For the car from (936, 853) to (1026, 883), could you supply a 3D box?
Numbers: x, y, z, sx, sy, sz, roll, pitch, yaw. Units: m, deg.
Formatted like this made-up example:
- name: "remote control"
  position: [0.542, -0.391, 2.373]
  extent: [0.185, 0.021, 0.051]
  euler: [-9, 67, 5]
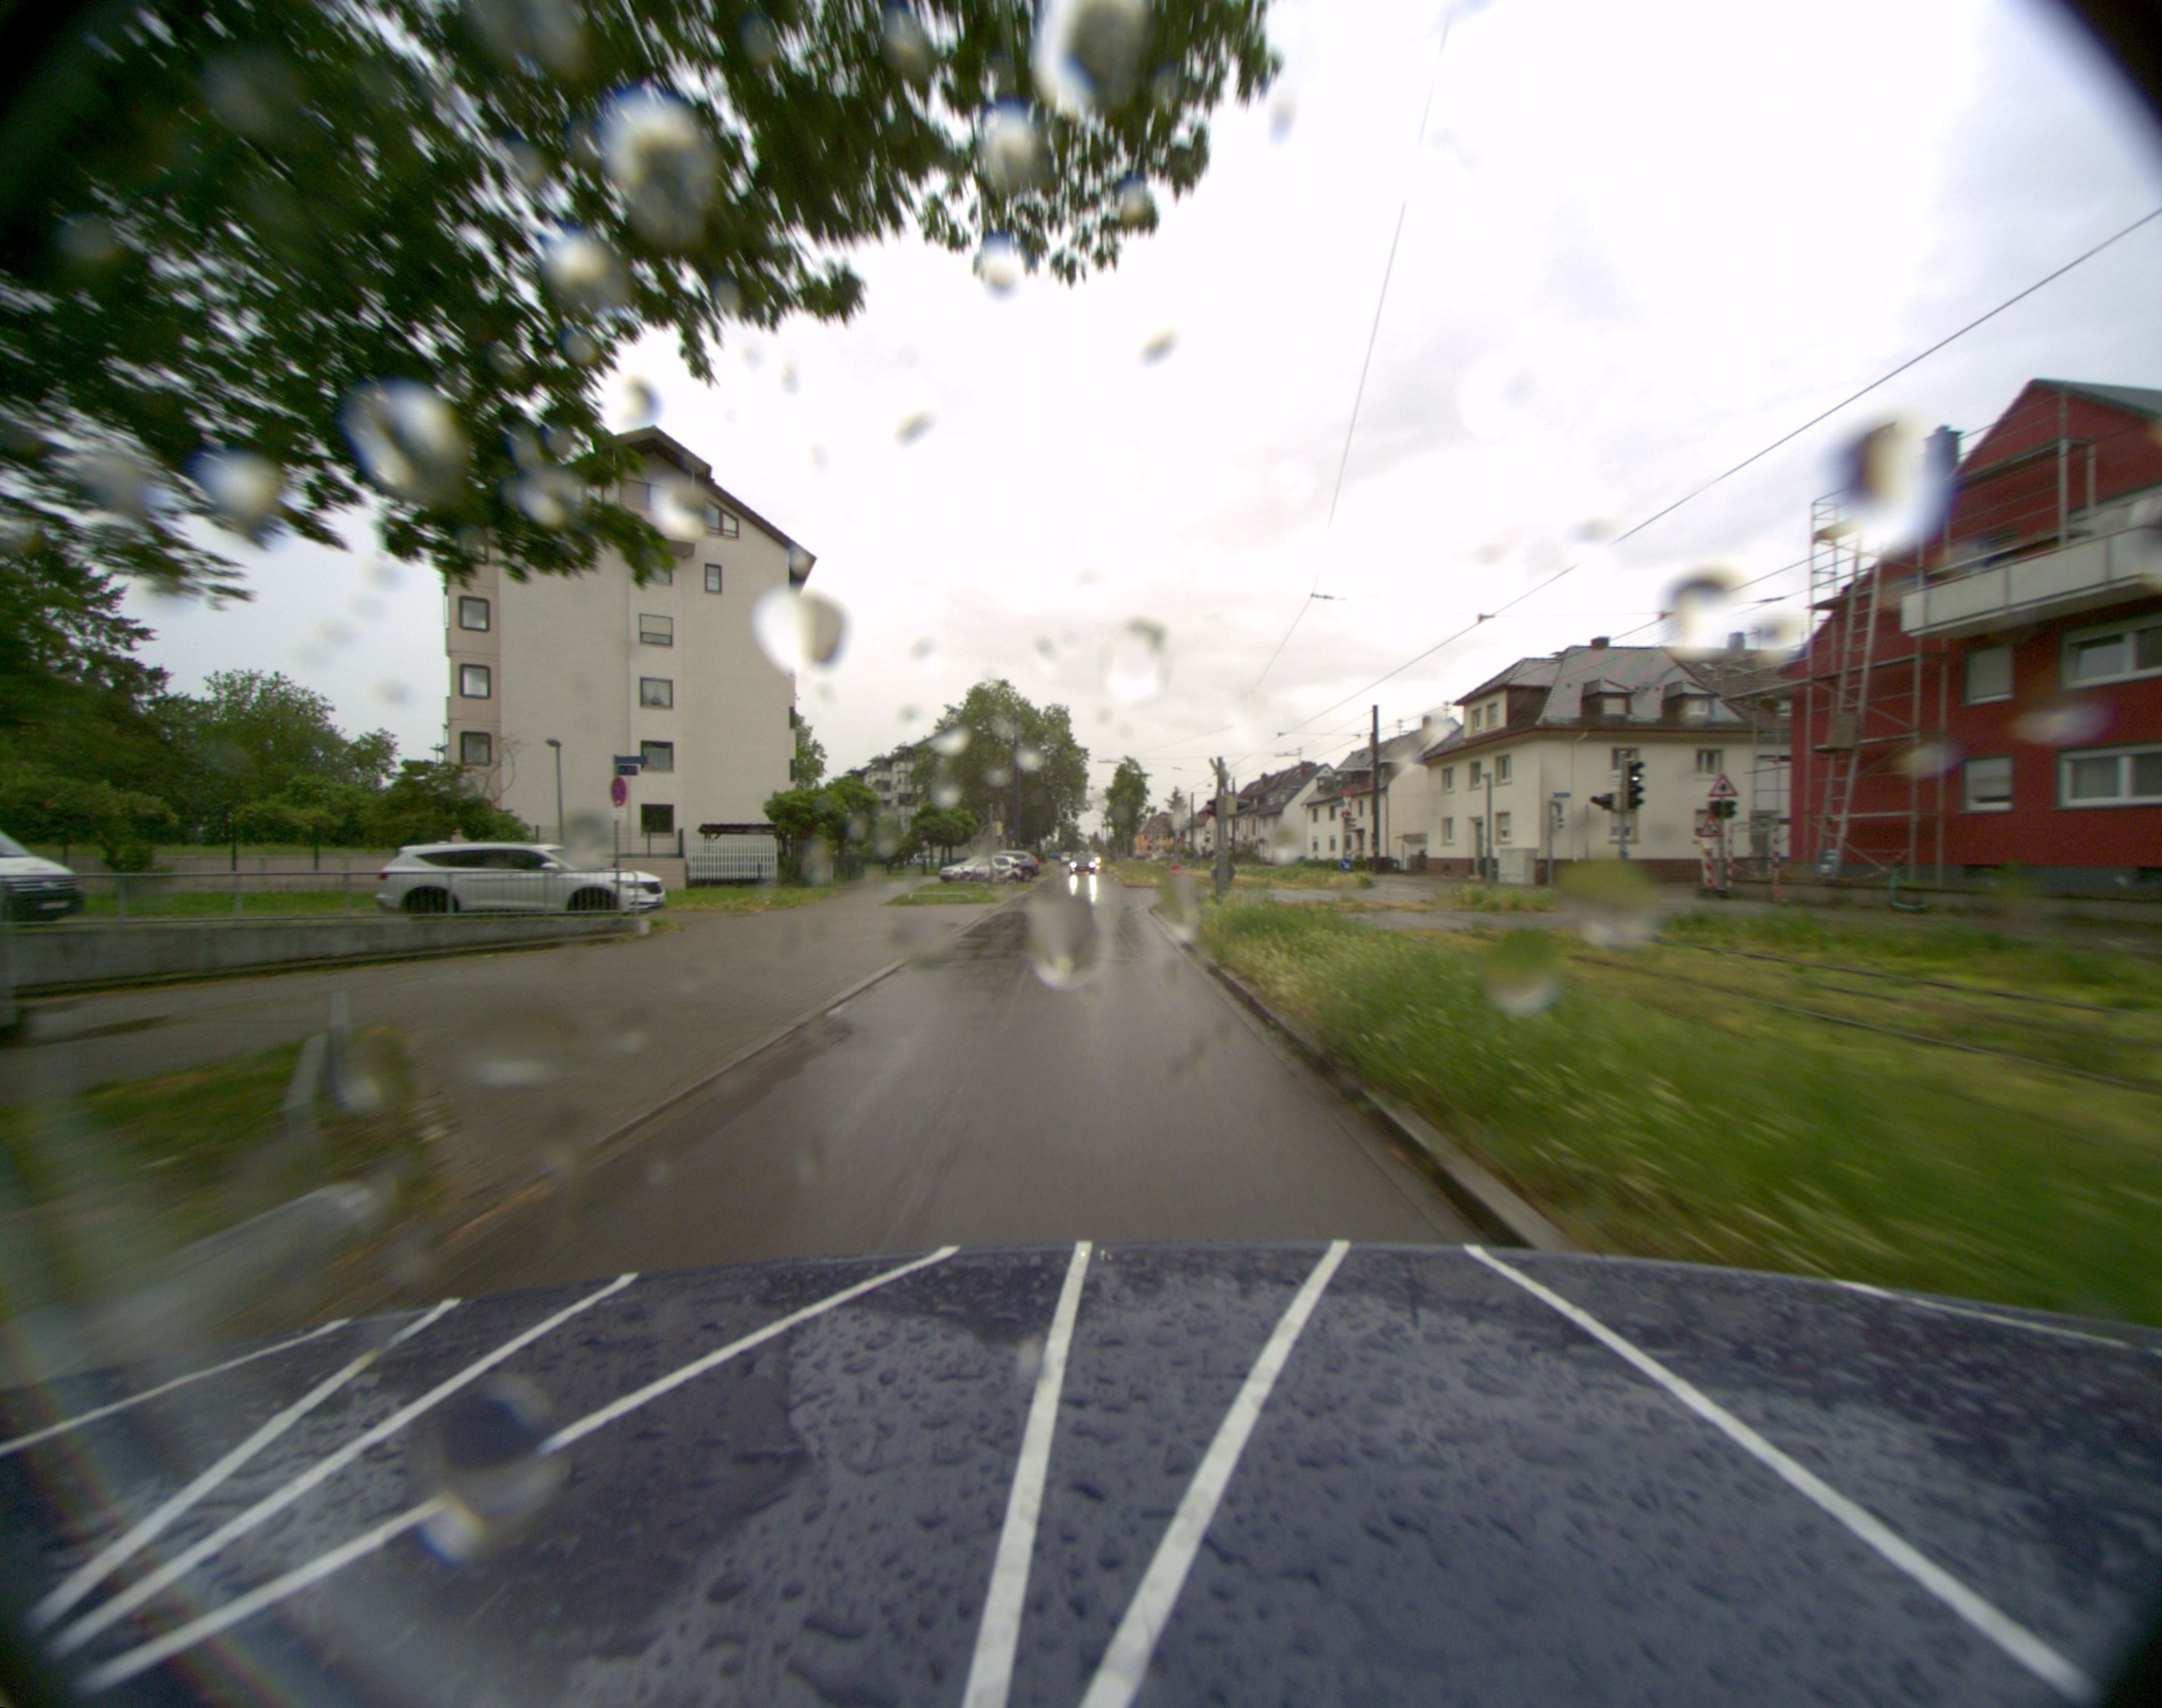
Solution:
- name: "car"
  position: [-4.956, 0.693, 37.882]
  extent: [4.133, 1.414, 1.734]
  euler: [1, 0, -35]

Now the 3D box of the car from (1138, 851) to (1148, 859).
- name: "car"
  position: [13.843, 0.189, 170.397]
  extent: [1.912, 1.581, 3.999]
  euler: [1, 0, -1]

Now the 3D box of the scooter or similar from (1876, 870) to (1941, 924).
- name: "scooter or similar"
  position: [19.393, 0.991, 17.830]
  extent: [0.394, 1.173, 1.284]
  euler: [0, 1, 16]

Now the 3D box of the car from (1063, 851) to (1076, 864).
- name: "car"
  position: [-1.494, 0.436, 98.204]
  extent: [1.562, 1.510, 3.999]
  euler: [1, 0, -2]

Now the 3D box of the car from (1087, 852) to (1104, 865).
- name: "car"
  position: [1.724, 0.495, 92.522]
  extent: [1.854, 1.500, 4.119]
  euler: [1, 0, -2]

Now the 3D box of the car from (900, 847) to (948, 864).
- name: "car"
  position: [-15.731, 0.111, 76.301]
  extent: [4.303, 1.671, 1.871]
  euler: [1, 1, 2]

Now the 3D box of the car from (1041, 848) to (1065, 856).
- name: "car"
  position: [-5.162, -0.364, 139.453]
  extent: [4.007, 1.518, 1.715]
  euler: [0, 1, -34]

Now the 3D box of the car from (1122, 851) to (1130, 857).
- name: "car"
  position: [12.330, 0.021, 208.195]
  extent: [1.886, 1.423, 4.076]
  euler: [1, 0, -3]

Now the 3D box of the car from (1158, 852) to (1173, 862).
- name: "car"
  position: [14.610, 0.487, 131.519]
  extent: [1.892, 1.523, 4.755]
  euler: [1, 0, -2]

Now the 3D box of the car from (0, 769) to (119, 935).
- name: "car"
  position: [-22.358, -0.041, 13.734]
  extent: [6.078, 2.947, 2.127]
  euler: [0, 1, -14]

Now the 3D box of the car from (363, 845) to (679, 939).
- name: "car"
  position: [-11.210, 0.694, 15.645]
  extent: [4.821, 1.735, 1.997]
  euler: [0, 1, -14]

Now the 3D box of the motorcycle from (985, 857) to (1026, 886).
- name: "motorcycle"
  position: [-3.568, 0.834, 35.871]
  extent: [1.783, 1.329, 0.687]
  euler: [1, 0, -36]

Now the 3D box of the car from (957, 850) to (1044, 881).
- name: "car"
  position: [-4.374, 0.605, 41.392]
  extent: [4.357, 1.641, 1.853]
  euler: [0, 0, -32]

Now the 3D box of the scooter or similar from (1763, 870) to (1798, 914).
- name: "scooter or similar"
  position: [19.190, 1.018, 20.859]
  extent: [0.440, 1.123, 1.285]
  euler: [1, 1, 31]

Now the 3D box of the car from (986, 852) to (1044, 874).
- name: "car"
  position: [-4.950, 0.678, 56.835]
  extent: [4.008, 1.499, 1.700]
  euler: [0, 3, -39]

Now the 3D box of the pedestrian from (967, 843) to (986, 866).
- name: "pedestrian"
  position: [-8.190, 0.057, 59.753]
  extent: [1.101, 1.803, 1.435]
  euler: [0, 1, 10]

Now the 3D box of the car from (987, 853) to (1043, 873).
- name: "car"
  position: [-5.219, 0.688, 60.037]
  extent: [4.008, 1.499, 1.779]
  euler: [1, 2, -35]

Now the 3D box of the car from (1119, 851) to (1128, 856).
- name: "car"
  position: [12.237, -0.234, 216.917]
  extent: [2.097, 1.423, 4.076]
  euler: [1, 0, -3]

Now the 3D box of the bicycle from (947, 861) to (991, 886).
- name: "bicycle"
  position: [-5.090, 0.882, 34.582]
  extent: [0.627, 1.095, 1.961]
  euler: [1, 0, 45]

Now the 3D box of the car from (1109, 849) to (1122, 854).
- name: "car"
  position: [10.662, -0.728, 235.351]
  extent: [3.999, 1.638, 1.893]
  euler: [1, 0, -4]

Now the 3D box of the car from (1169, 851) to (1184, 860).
- name: "car"
  position: [14.868, 0.225, 118.348]
  extent: [1.777, 1.417, 3.936]
  euler: [1, 0, -1]

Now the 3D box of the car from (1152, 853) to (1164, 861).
- name: "car"
  position: [14.450, 0.504, 142.699]
  extent: [1.715, 1.432, 3.999]
  euler: [1, 0, -2]

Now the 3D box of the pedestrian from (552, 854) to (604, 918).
- name: "pedestrian"
  position: [-12.692, 0.783, 19.205]
  extent: [0.840, 1.561, 0.813]
  euler: [0, 1, -11]

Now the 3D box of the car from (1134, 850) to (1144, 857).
- name: "car"
  position: [14.006, -0.230, 183.982]
  extent: [1.998, 1.648, 4.000]
  euler: [-1, 1, 1]
